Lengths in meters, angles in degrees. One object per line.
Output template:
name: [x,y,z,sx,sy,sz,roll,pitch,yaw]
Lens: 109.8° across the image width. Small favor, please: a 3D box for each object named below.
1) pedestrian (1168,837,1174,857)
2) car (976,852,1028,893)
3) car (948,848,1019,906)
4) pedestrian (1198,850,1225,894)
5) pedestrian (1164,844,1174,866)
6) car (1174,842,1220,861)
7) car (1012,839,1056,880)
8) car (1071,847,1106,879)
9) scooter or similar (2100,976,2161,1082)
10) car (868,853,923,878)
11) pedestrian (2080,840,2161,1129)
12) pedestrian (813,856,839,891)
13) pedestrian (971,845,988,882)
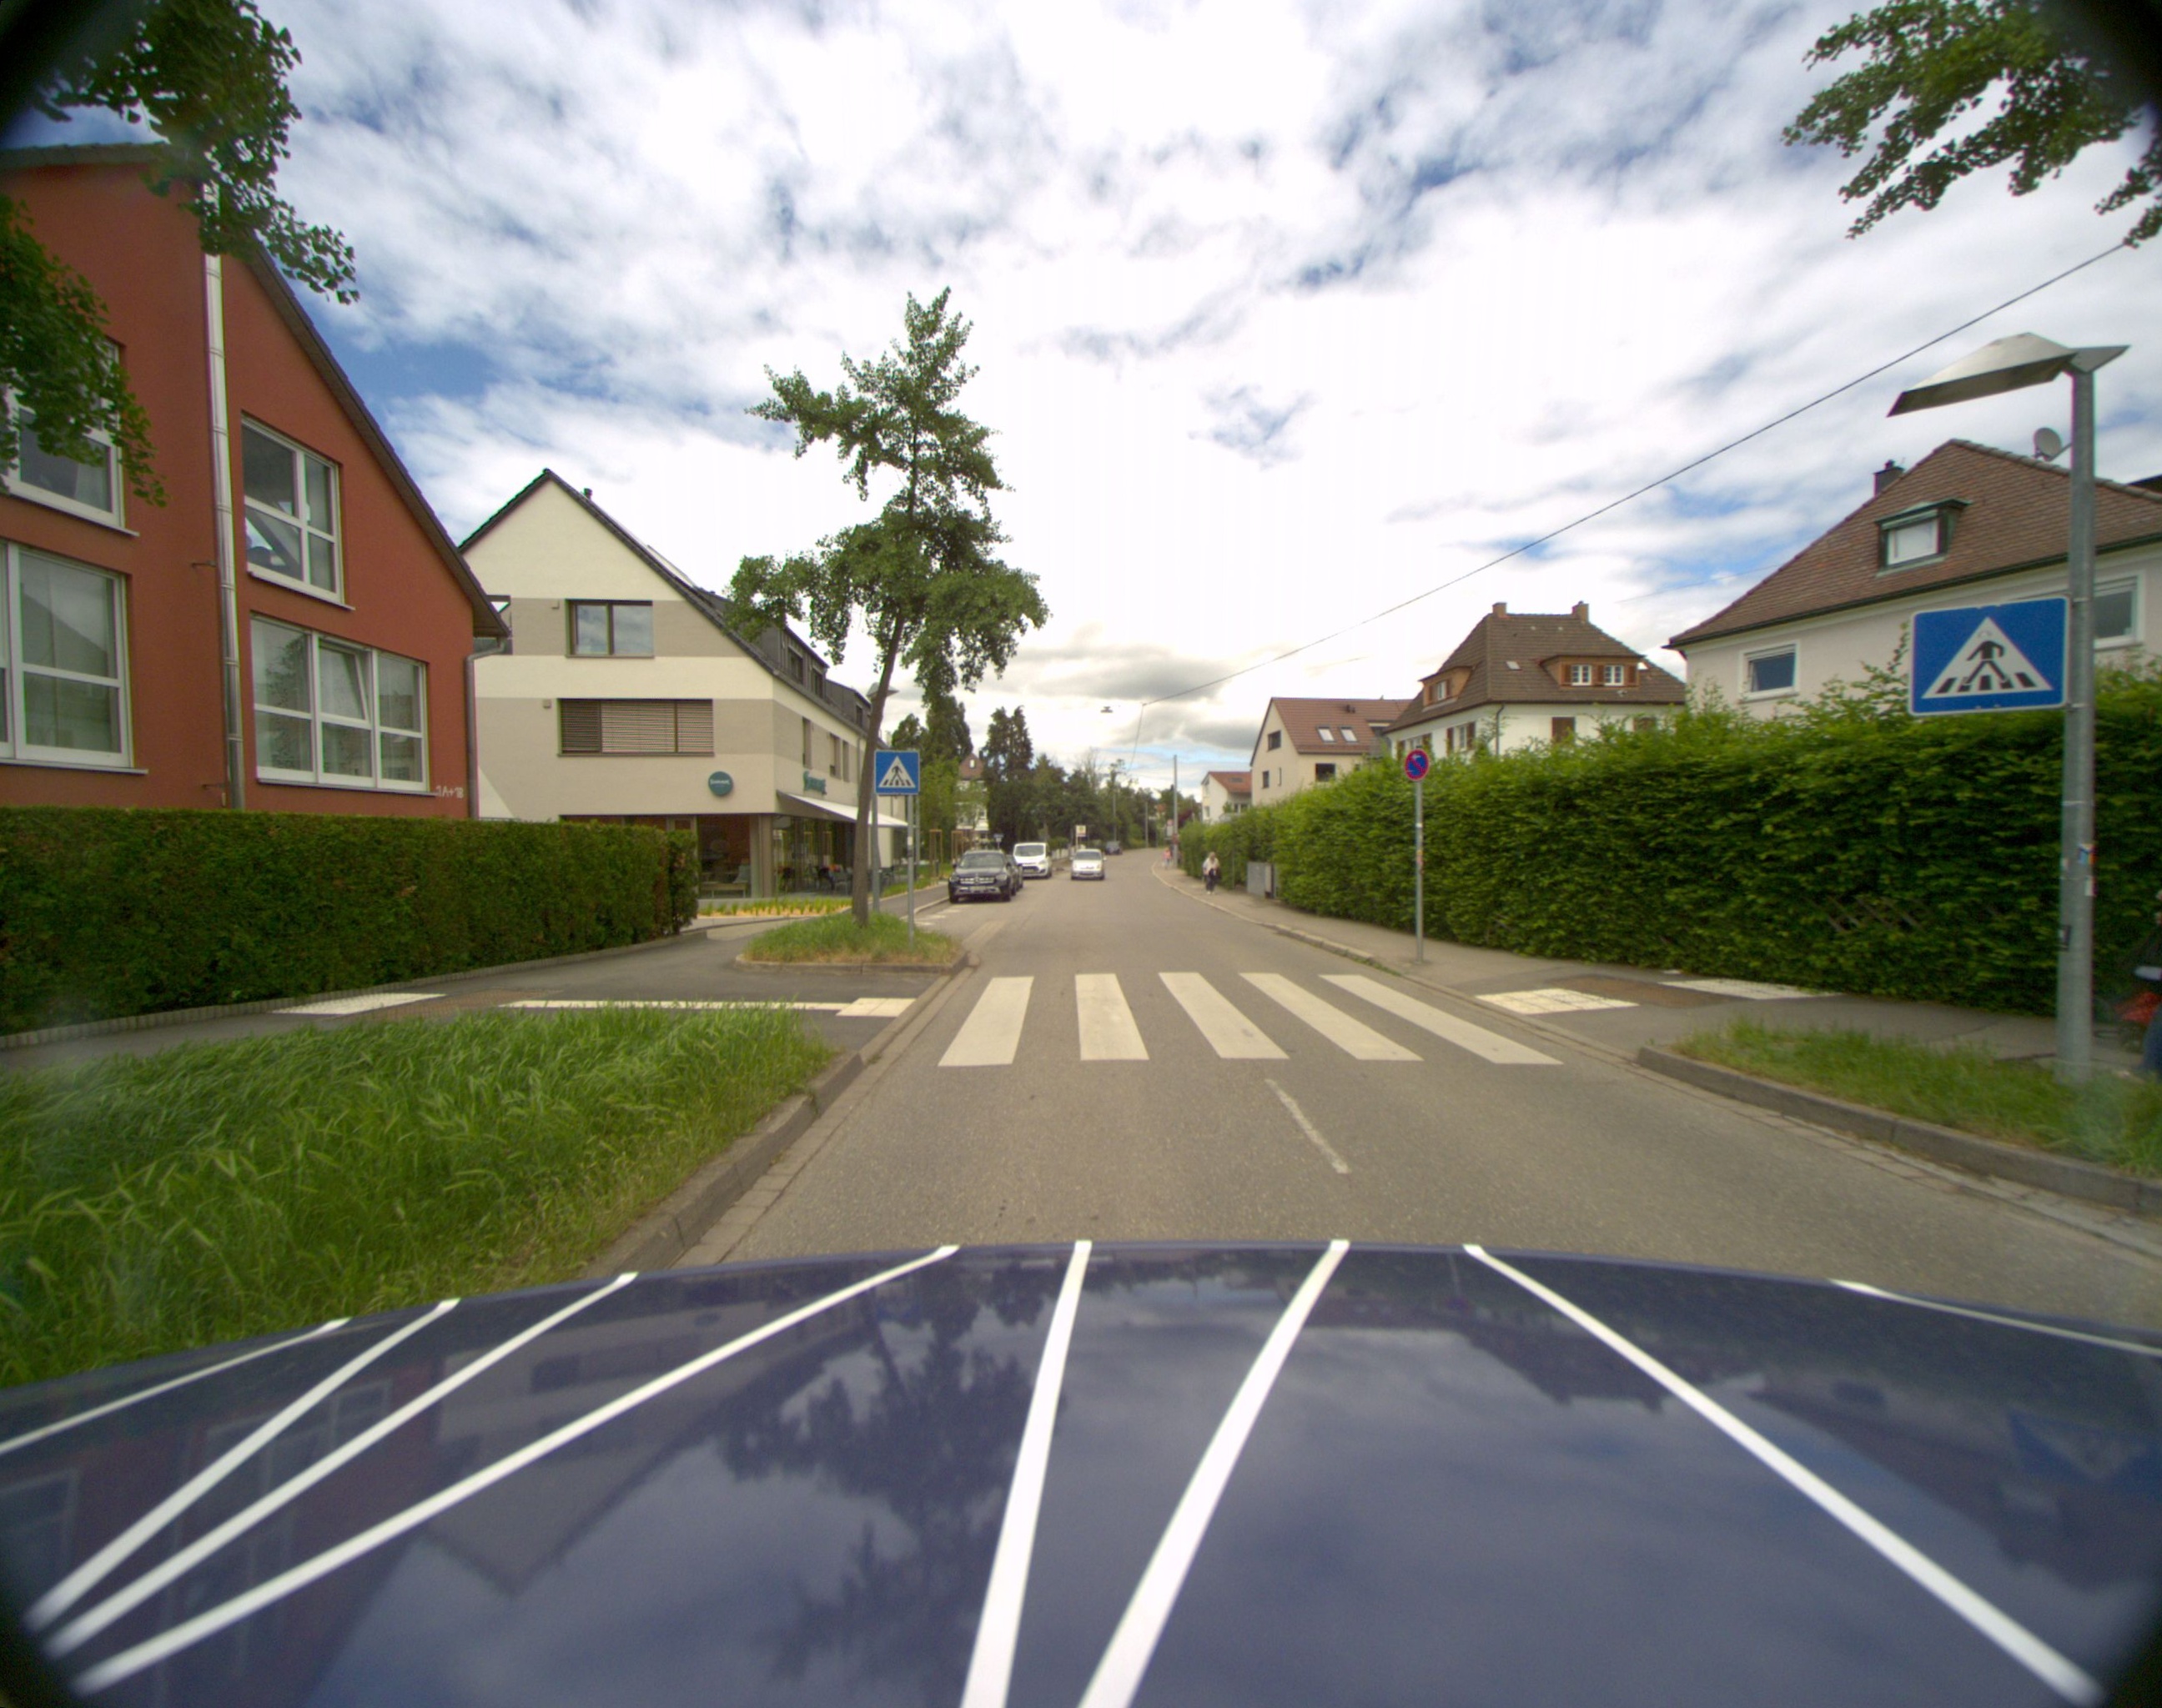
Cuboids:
pedestrian: [9.023,-0.721,76.182,0.535,1.941,0.528,0,1,10]
car: [-3.131,0.687,30.691,1.711,1.444,3.834,-2,1,-1]
car: [-3.082,0.675,24.866,1.852,1.627,4.464,-2,1,-2]
pedestrian: [4.684,0.650,27.258,0.749,1.522,0.544,-3,1,-12]
pedestrian: [6.494,0.084,56.199,0.619,1.590,0.608,-1,1,-1]
car: [10.624,-0.267,69.960,3.996,1.718,1.885,-1,1,3]
car: [-2.541,0.241,42.044,1.998,2.002,5.566,-2,1,0]
car: [0.424,0.440,39.990,1.726,1.559,3.926,-1,1,1]
scooter or similar: [7.307,1.170,5.096,0.399,0.606,0.489,-3,2,31]
car: [-14.498,0.879,59.514,3.844,1.587,1.874,-5,2,-6]
pedestrian: [6.512,0.733,4.432,0.597,1.610,0.679,-2,2,31]
pedestrian: [-9.265,0.688,27.611,0.753,1.231,0.691,-1,1,-5]
pedestrian: [-4.637,0.438,34.819,0.678,1.659,0.660,0,2,0]
